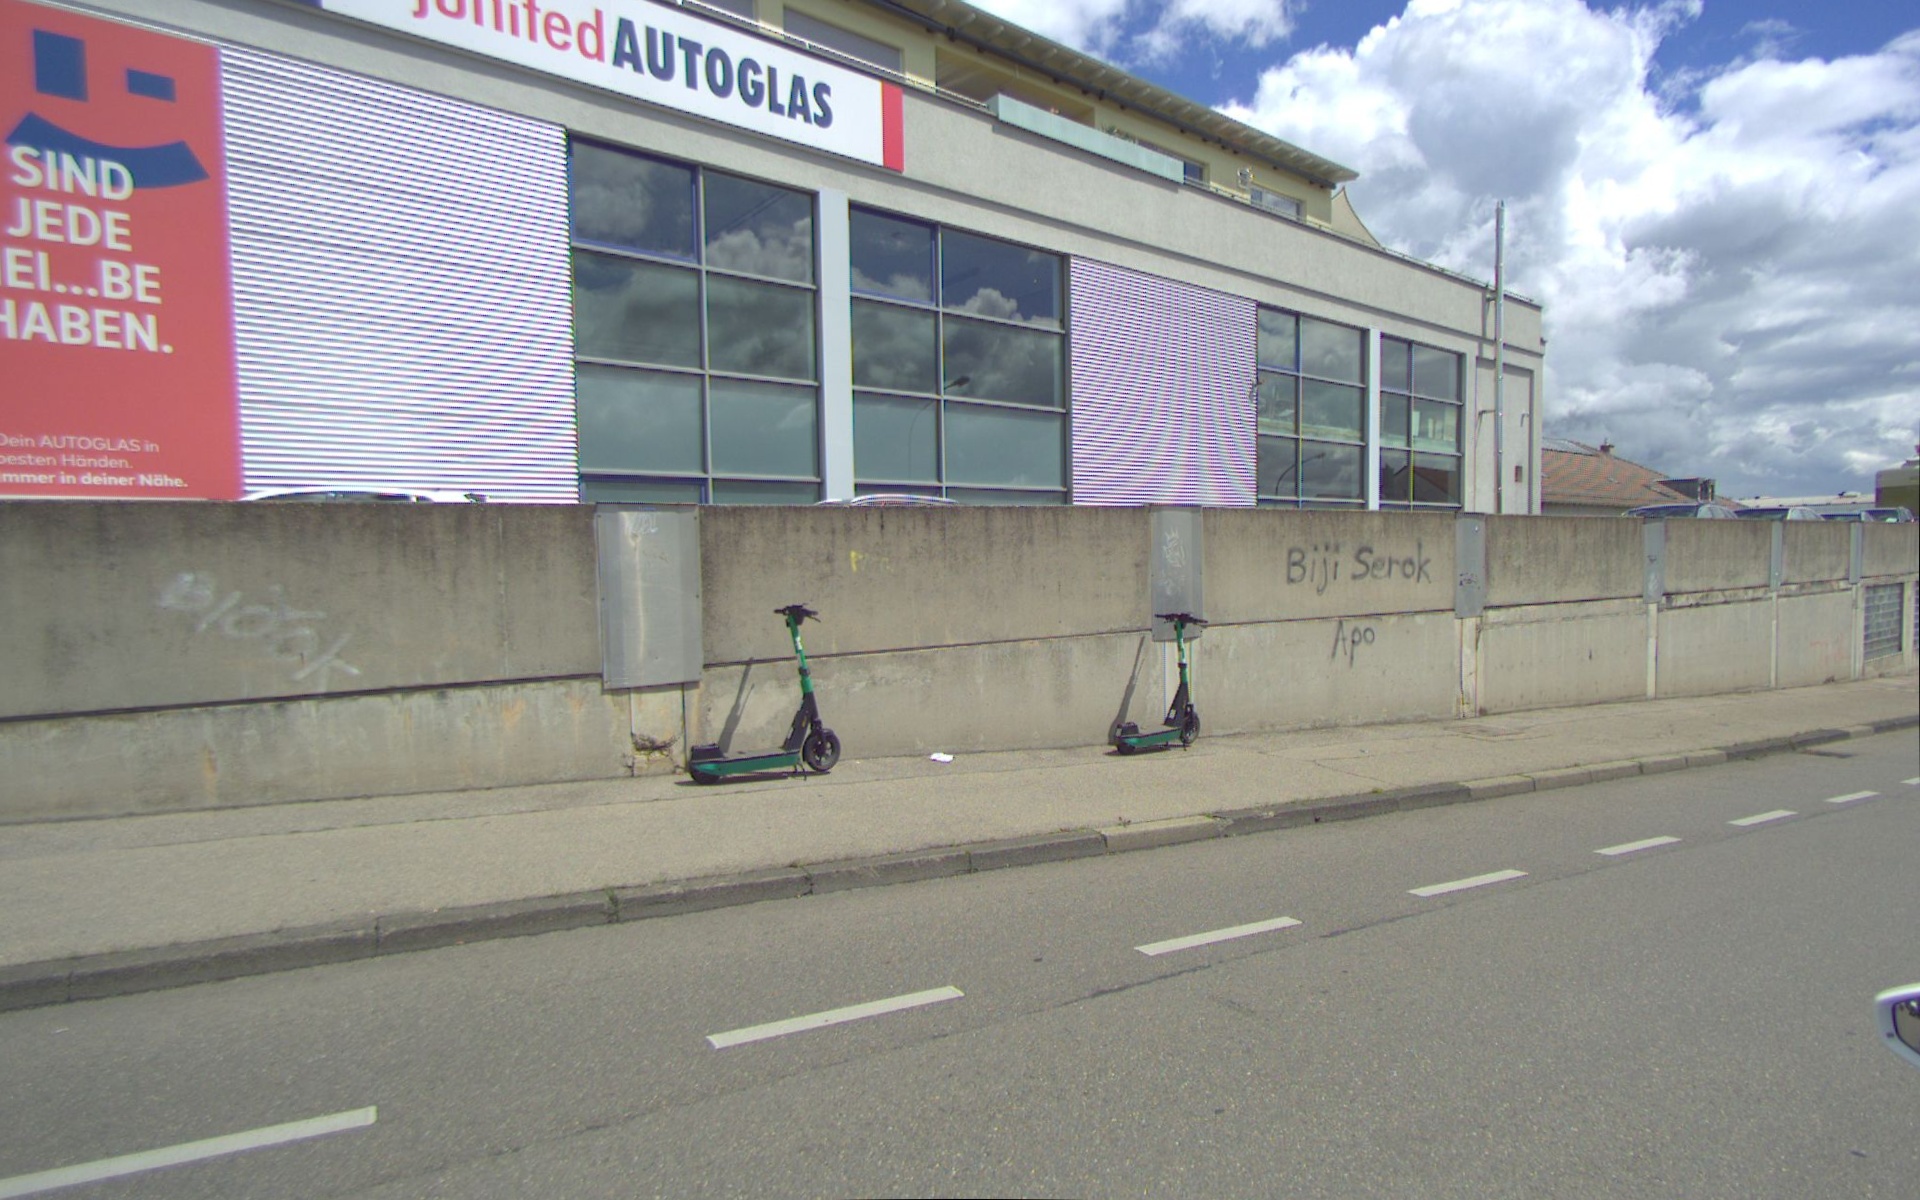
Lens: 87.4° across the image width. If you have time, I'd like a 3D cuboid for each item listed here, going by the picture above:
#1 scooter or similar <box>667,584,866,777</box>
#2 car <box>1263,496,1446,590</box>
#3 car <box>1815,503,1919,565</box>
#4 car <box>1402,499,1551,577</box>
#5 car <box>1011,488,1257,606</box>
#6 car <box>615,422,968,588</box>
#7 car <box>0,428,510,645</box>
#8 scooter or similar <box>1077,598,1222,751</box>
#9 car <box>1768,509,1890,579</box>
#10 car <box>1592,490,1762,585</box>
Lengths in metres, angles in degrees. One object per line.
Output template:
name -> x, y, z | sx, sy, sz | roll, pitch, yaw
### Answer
scooter or similar -> -1.400, 0.555, 7.323 | 1.290, 1.293, 0.554 | 2, 1, -30
car -> 8.330, -1.118, 21.072 | 4.078, 1.658, 1.791 | 2, 0, -39
car -> 28.843, -2.019, 31.847 | 4.067, 1.658, 1.792 | 2, 0, -38
car -> 12.932, -1.475, 25.074 | 4.078, 1.658, 1.791 | 2, 0, -39
car -> 2.982, -0.799, 16.823 | 4.078, 1.658, 1.791 | 2, 0, -39
car -> -2.046, -1.061, 12.818 | 4.078, 1.658, 1.791 | 2, 0, -39
car -> -6.640, -0.468, 9.435 | 4.078, 1.658, 1.791 | 2, 0, -39
scooter or similar -> 1.772, 0.660, 9.320 | 1.372, 1.293, 0.515 | 1, 3, -40
car -> 24.387, -1.509, 28.161 | 4.067, 1.658, 1.792 | 2, 0, -38
car -> 15.106, -1.228, 21.098 | 4.067, 1.658, 1.792 | 2, 0, -38
